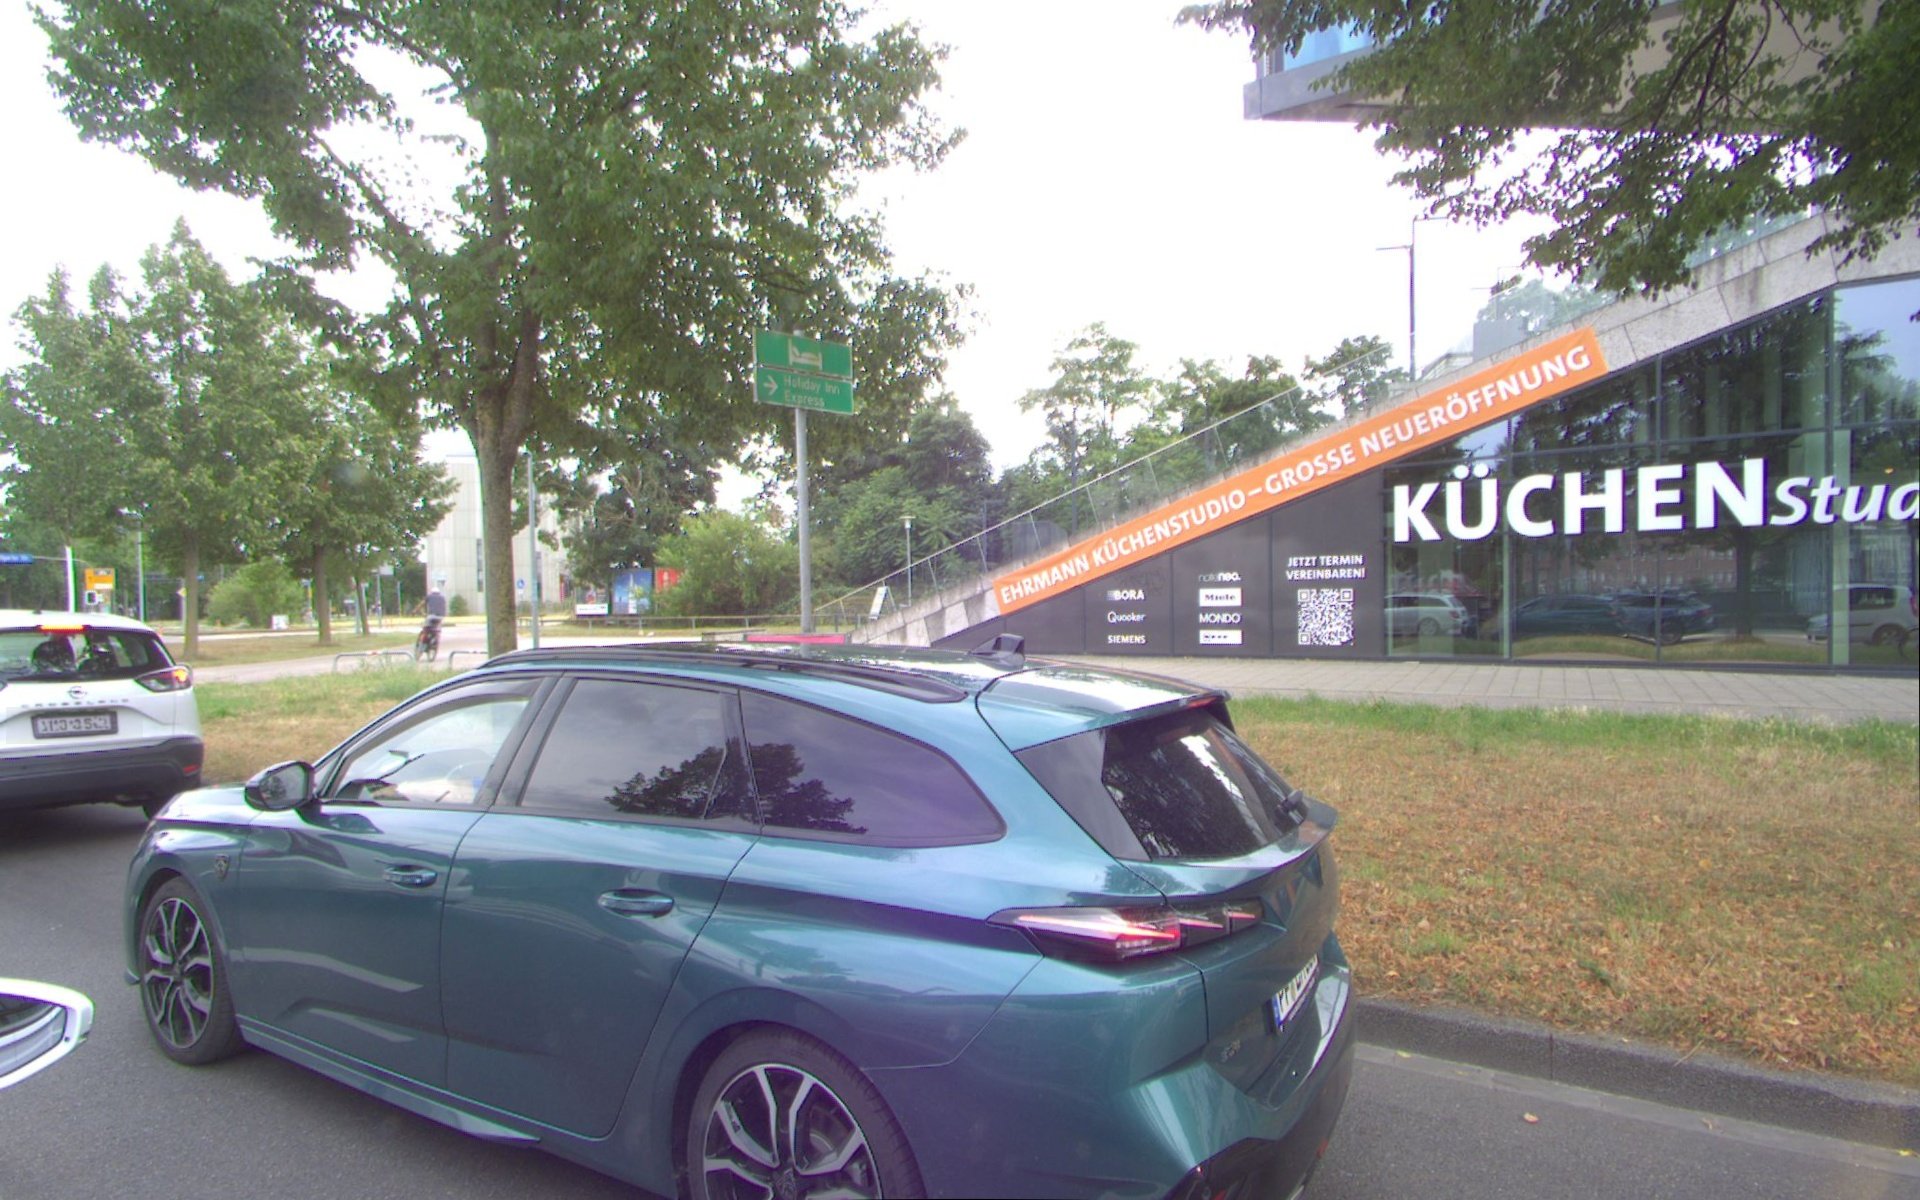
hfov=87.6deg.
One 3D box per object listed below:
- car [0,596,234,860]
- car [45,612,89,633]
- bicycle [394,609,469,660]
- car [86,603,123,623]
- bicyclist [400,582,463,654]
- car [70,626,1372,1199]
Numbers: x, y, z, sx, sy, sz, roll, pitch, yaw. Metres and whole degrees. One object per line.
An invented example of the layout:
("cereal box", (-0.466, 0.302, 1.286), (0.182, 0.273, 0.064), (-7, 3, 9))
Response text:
("car", (-7.410, 0.811, 7.595), (3.854, 1.646, 1.783), (0, 0, 33))
("car", (-78.099, 1.986, 87.625), (1.972, 1.813, 3.981), (2, -3, -30))
("bicycle", (-13.459, 0.854, 25.489), (2.241, 1.251, 0.898), (0, 0, 40))
("car", (-70.701, 1.064, 82.828), (1.765, 1.658, 4.374), (-1, 0, -33))
("bicyclist", (-13.435, 0.435, 25.470), (1.116, 1.761, 0.991), (1, 4, 40))
("car", (-0.977, 0.832, 3.413), (4.245, 1.450, 1.786), (0, -1, 29))
